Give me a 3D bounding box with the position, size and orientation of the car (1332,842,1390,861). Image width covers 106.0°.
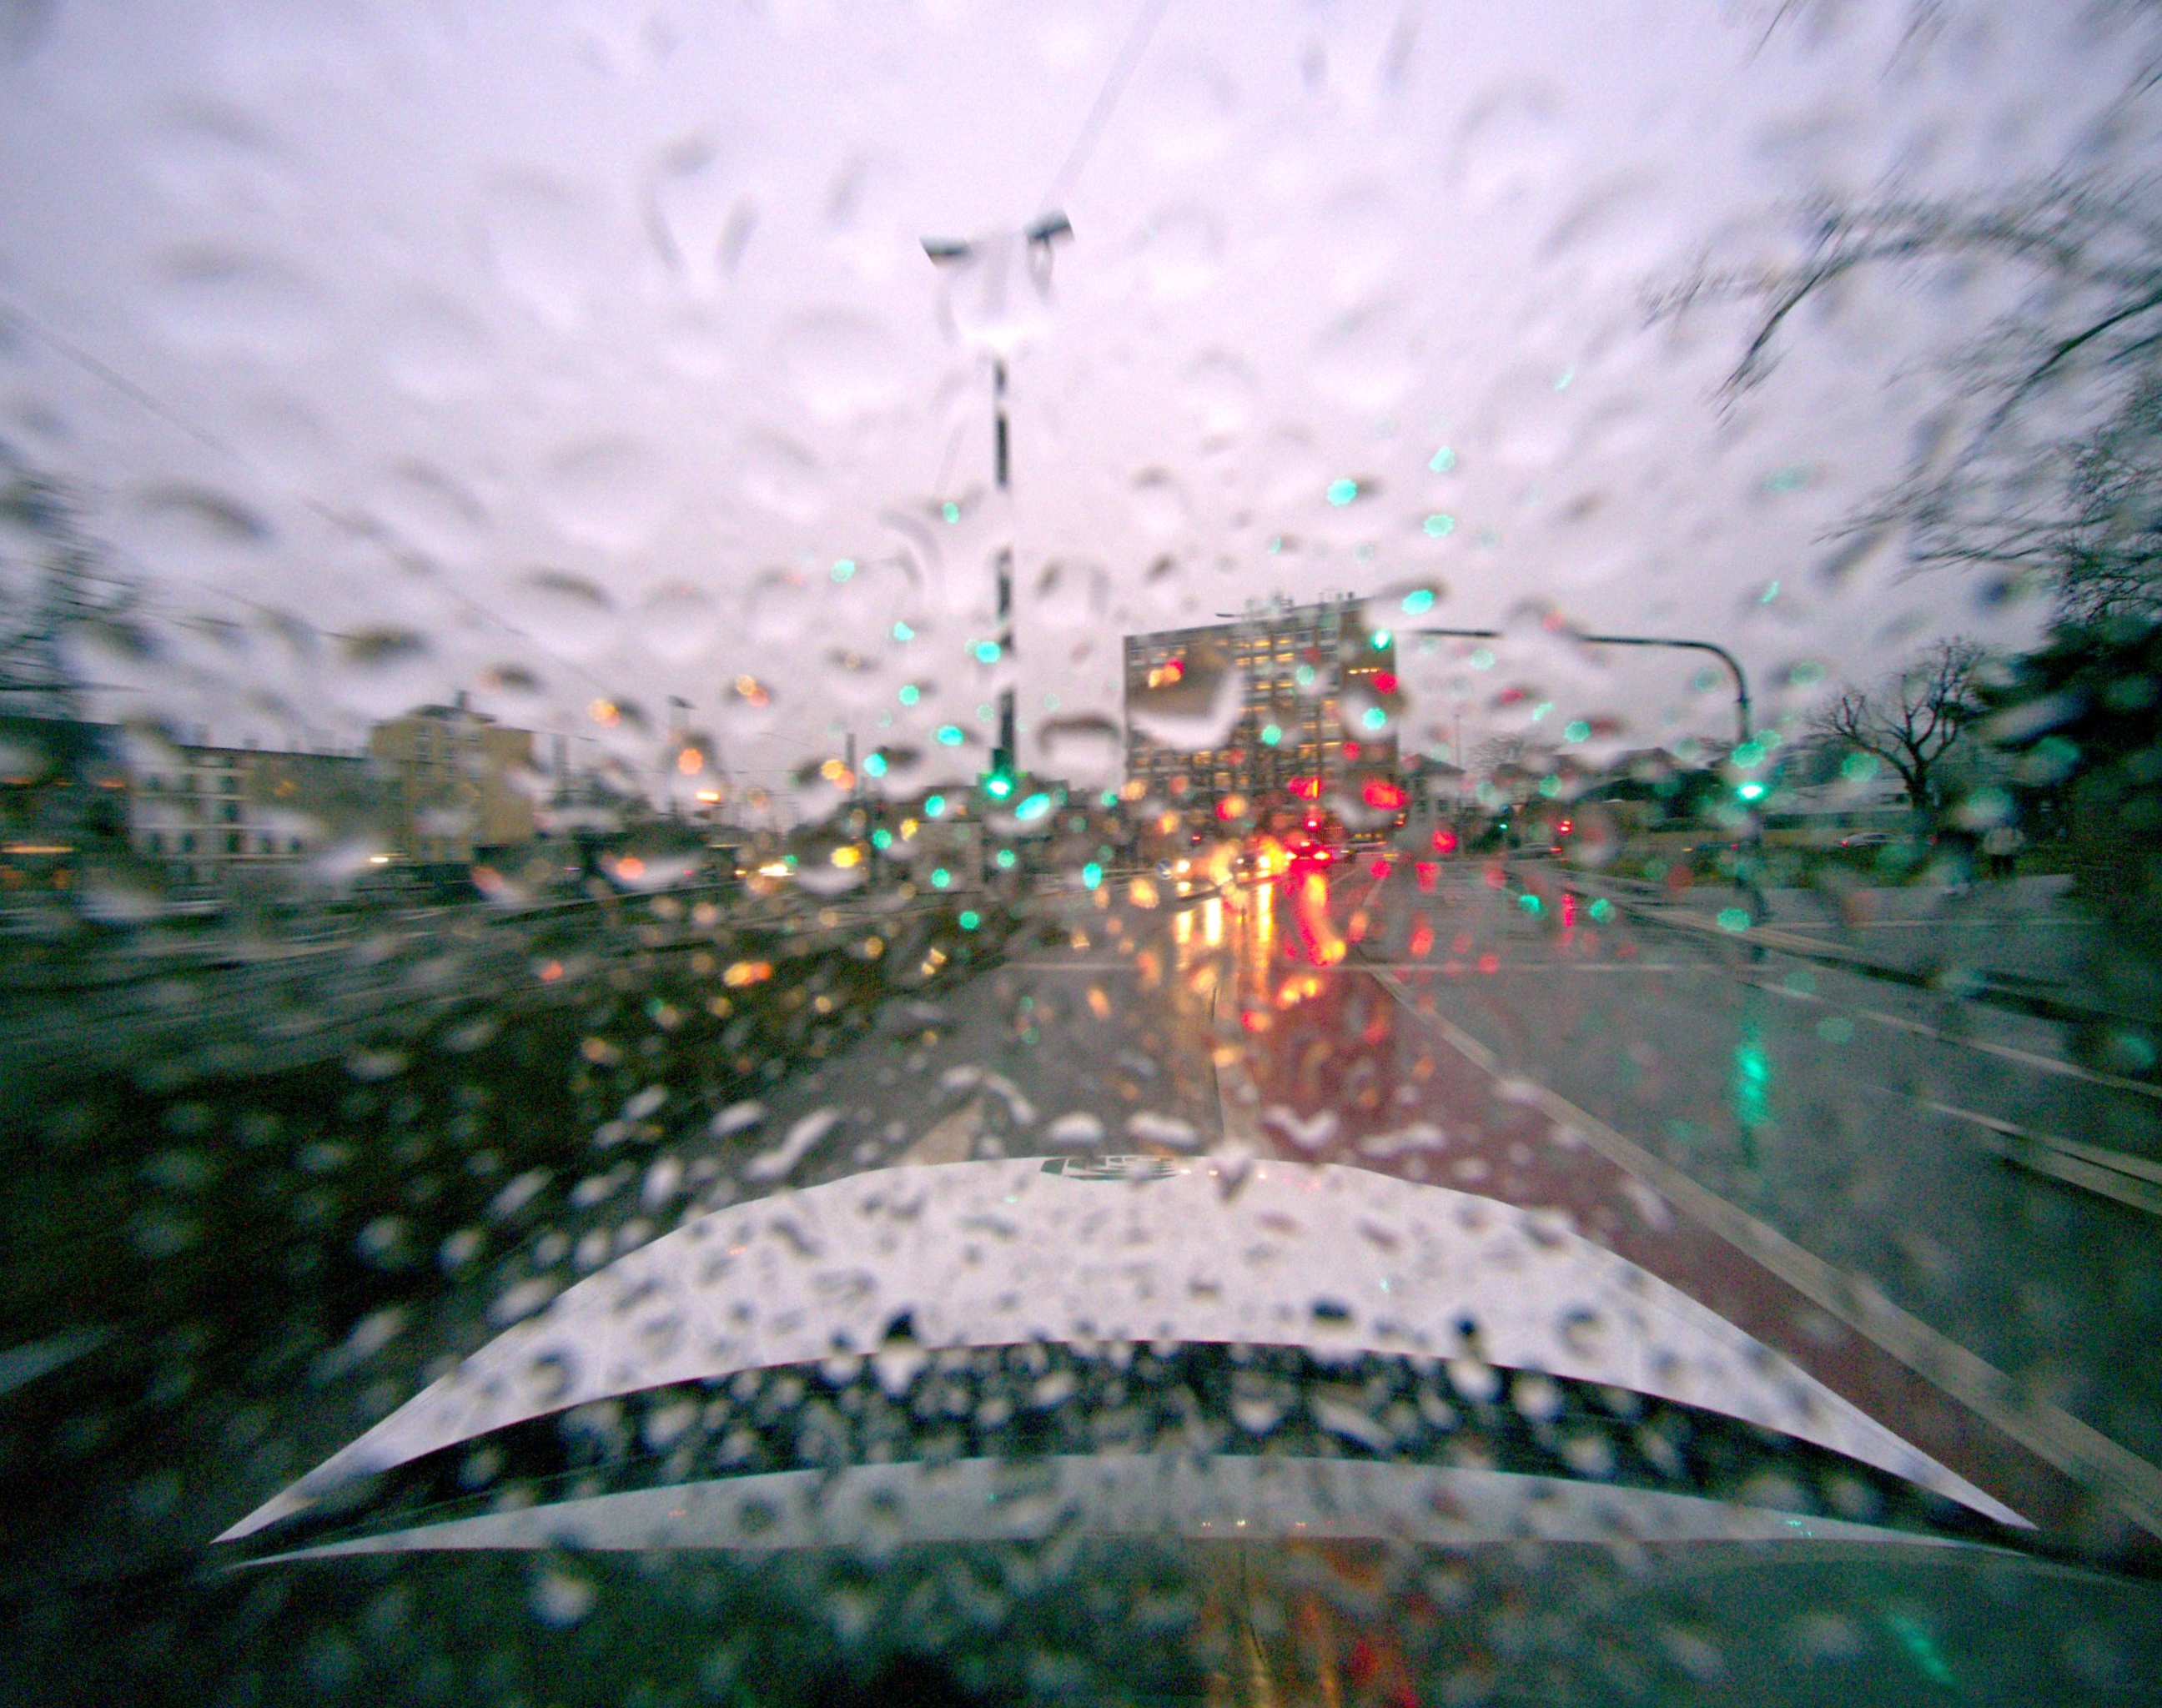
[{"bbox_3d":[28.187,-0.250,82.054,5.105,1.913,2.012,0,0,37],"label":"car"}]

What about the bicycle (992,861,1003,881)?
[{"bbox_3d":[-5.053,1.039,49.233,0.548,1.165,1.893,1,-1,-8],"label":"bicycle"}]

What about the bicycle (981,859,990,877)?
[{"bbox_3d":[-6.345,0.958,54.048,0.548,1.165,1.893,1,-1,-8],"label":"bicycle"}]

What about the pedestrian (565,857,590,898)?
[{"bbox_3d":[-21.976,1.031,35.567,0.713,1.757,0.714,0,-1,-13],"label":"pedestrian"}]

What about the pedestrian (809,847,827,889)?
[{"bbox_3d":[-11.592,0.624,35.913,0.603,1.813,0.822,1,-1,-12],"label":"pedestrian"}]

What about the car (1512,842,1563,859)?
[{"bbox_3d":[41.140,-0.262,73.433,3.878,1.486,1.478,0,-1,37],"label":"car"}]

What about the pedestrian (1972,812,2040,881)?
[{"bbox_3d":[23.466,-0.179,20.672,0.961,1.675,0.775,-2,-1,-17],"label":"pedestrian"}]

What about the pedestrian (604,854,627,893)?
[{"bbox_3d":[-21.615,0.888,37.837,0.713,1.806,0.714,0,-1,-13],"label":"pedestrian"}]

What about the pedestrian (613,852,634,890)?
[{"bbox_3d":[-21.845,0.823,38.892,0.713,1.806,0.714,0,-1,-13],"label":"pedestrian"}]

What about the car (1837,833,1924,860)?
[{"bbox_3d":[51.706,-0.473,52.773,3.600,1.651,1.900,0,-1,25],"label":"car"}]

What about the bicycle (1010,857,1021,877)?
[{"bbox_3d":[-3.913,0.760,48.566,0.548,1.165,1.893,1,-1,-8],"label":"bicycle"}]

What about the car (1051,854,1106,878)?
[{"bbox_3d":[-0.250,1.127,79.845,4.973,2.281,2.272,0,-1,38],"label":"car"}]

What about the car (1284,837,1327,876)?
[{"bbox_3d":[11.124,0.099,40.198,1.633,1.818,4.021,0,1,21],"label":"car"}]

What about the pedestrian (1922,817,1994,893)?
[{"bbox_3d":[20.079,0.024,18.654,0.785,1.675,0.731,-3,-1,8],"label":"pedestrian"}]

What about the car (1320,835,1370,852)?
[{"bbox_3d":[31.853,-1.229,98.282,5.495,2.024,2.012,0,-1,27],"label":"car"}]

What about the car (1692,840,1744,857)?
[{"bbox_3d":[52.909,-0.426,67.741,3.377,1.398,1.478,0,-1,37],"label":"car"}]

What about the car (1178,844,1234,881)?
[{"bbox_3d":[6.211,0.368,40.152,1.739,1.662,4.554,-3,0,21],"label":"car"}]

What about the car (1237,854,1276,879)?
[{"bbox_3d":[11.222,0.789,51.864,1.732,1.378,4.389,-3,0,21],"label":"car"}]

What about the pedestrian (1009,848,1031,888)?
[{"bbox_3d":[-2.604,0.594,34.824,0.667,1.674,0.734,0,-1,25],"label":"pedestrian"}]

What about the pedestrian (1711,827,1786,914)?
[{"bbox_3d":[13.440,0.320,16.427,0.798,1.684,1.163,-3,0,22],"label":"pedestrian"}]
